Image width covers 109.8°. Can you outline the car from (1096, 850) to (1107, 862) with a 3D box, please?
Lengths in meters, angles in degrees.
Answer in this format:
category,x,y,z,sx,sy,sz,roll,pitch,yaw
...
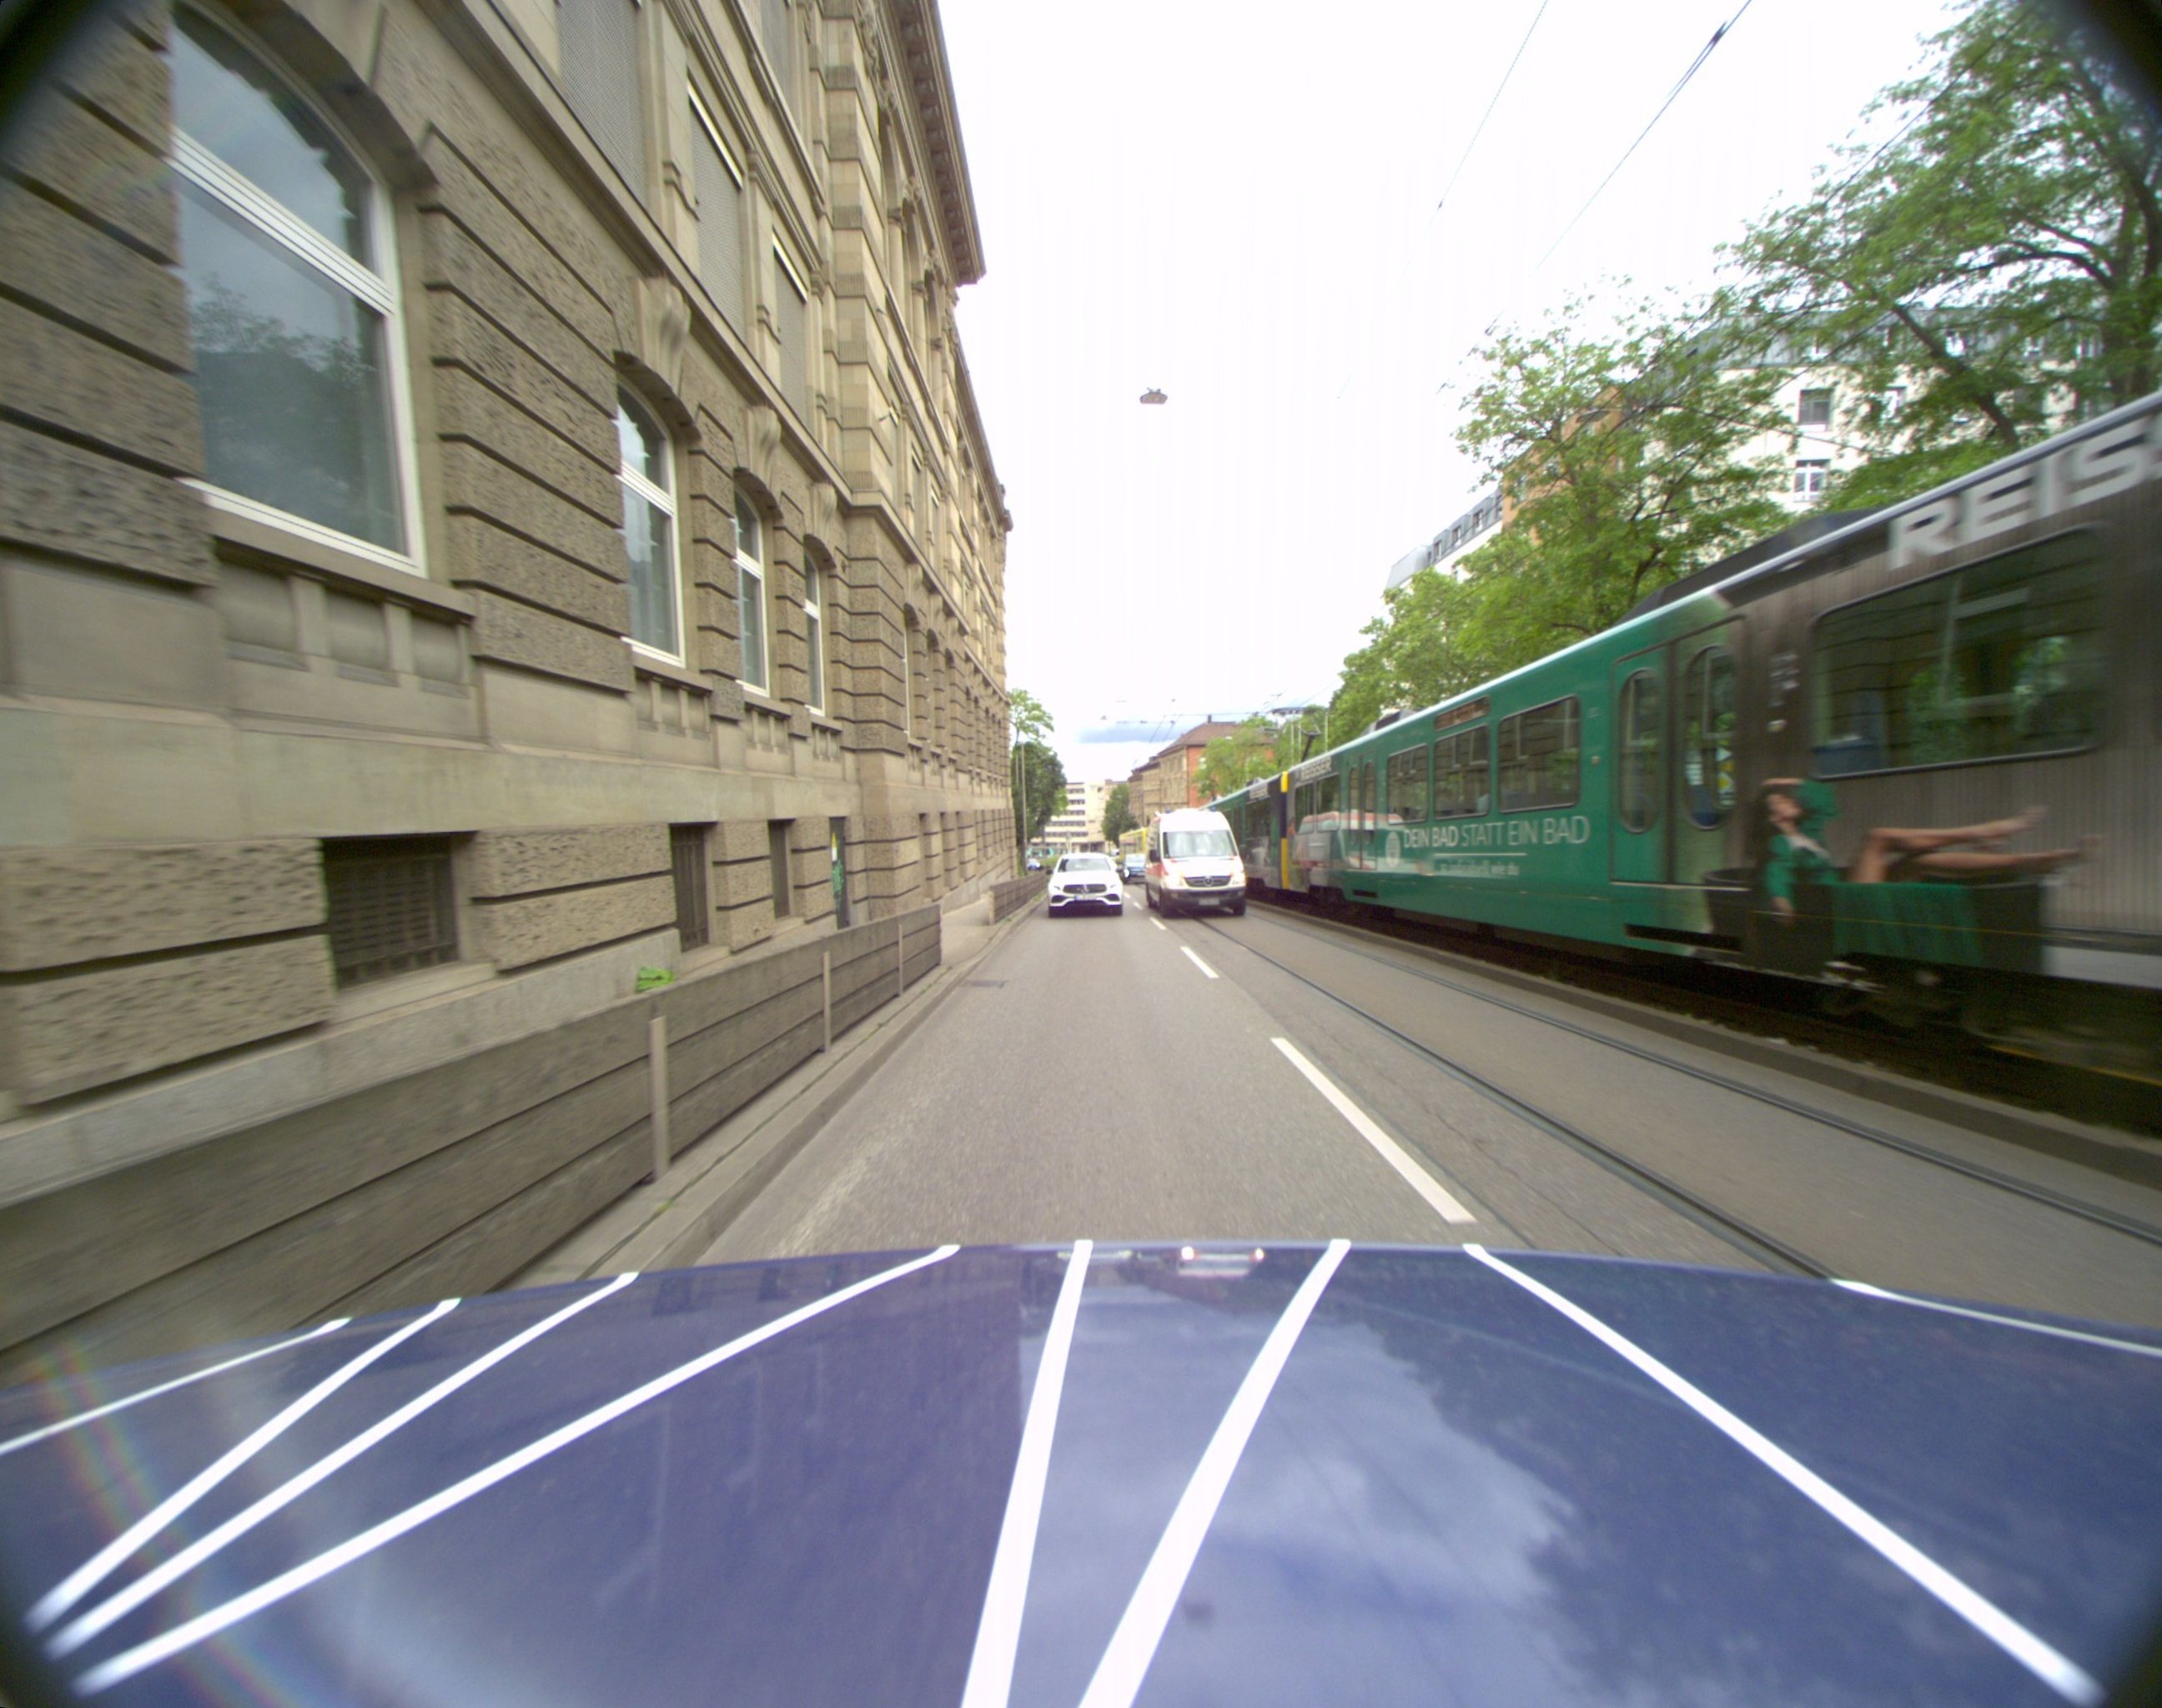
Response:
category,x,y,z,sx,sy,sz,roll,pitch,yaw
car,4.269,0.418,161.211,1.872,2.250,4.747,-3,1,-4

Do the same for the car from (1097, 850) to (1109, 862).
category,x,y,z,sx,sy,sz,roll,pitch,yaw
car,4.476,0.410,155.679,1.872,2.250,4.747,-3,1,-4

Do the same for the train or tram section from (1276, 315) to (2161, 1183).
category,x,y,z,sx,sy,sz,roll,pitch,yaw
train or tram section,6.128,-0.493,8.931,2.883,3.704,18.756,-3,0,1

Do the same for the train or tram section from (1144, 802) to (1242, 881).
category,x,y,z,sx,sy,sz,roll,pitch,yaw
train or tram section,6.237,-0.610,46.426,2.884,3.704,18.700,-3,0,-1

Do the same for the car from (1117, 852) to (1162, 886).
category,x,y,z,sx,sy,sz,roll,pitch,yaw
car,3.031,0.762,40.018,1.931,1.563,4.180,-3,0,-1

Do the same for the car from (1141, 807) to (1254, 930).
category,x,y,z,sx,sy,sz,roll,pitch,yaw
car,2.828,0.335,19.897,2.039,2.684,5.854,-2,0,0

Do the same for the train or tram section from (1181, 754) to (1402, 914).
category,x,y,z,sx,sy,sz,roll,pitch,yaw
train or tram section,6.310,-0.485,27.715,2.883,3.704,18.756,-3,0,1

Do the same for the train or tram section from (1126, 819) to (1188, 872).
category,x,y,z,sx,sy,sz,roll,pitch,yaw
train or tram section,5.986,-0.604,63.120,2.890,3.704,14.852,-3,0,-2

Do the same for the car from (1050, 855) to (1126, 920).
category,x,y,z,sx,sy,sz,roll,pitch,yaw
car,0.234,0.868,21.799,1.894,1.609,4.479,-2,0,1

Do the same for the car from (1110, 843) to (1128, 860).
category,x,y,z,sx,sy,sz,roll,pitch,yaw
car,6.455,-0.406,129.034,2.215,2.806,4.781,-1,0,-6

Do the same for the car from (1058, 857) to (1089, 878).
category,x,y,z,sx,sy,sz,roll,pitch,yaw
car,-0.612,0.998,55.923,1.823,1.440,3.850,-1,0,-7

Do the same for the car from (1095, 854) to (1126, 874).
category,x,y,z,sx,sy,sz,roll,pitch,yaw
car,2.318,0.772,61.012,1.999,1.543,4.315,-2,0,-4
